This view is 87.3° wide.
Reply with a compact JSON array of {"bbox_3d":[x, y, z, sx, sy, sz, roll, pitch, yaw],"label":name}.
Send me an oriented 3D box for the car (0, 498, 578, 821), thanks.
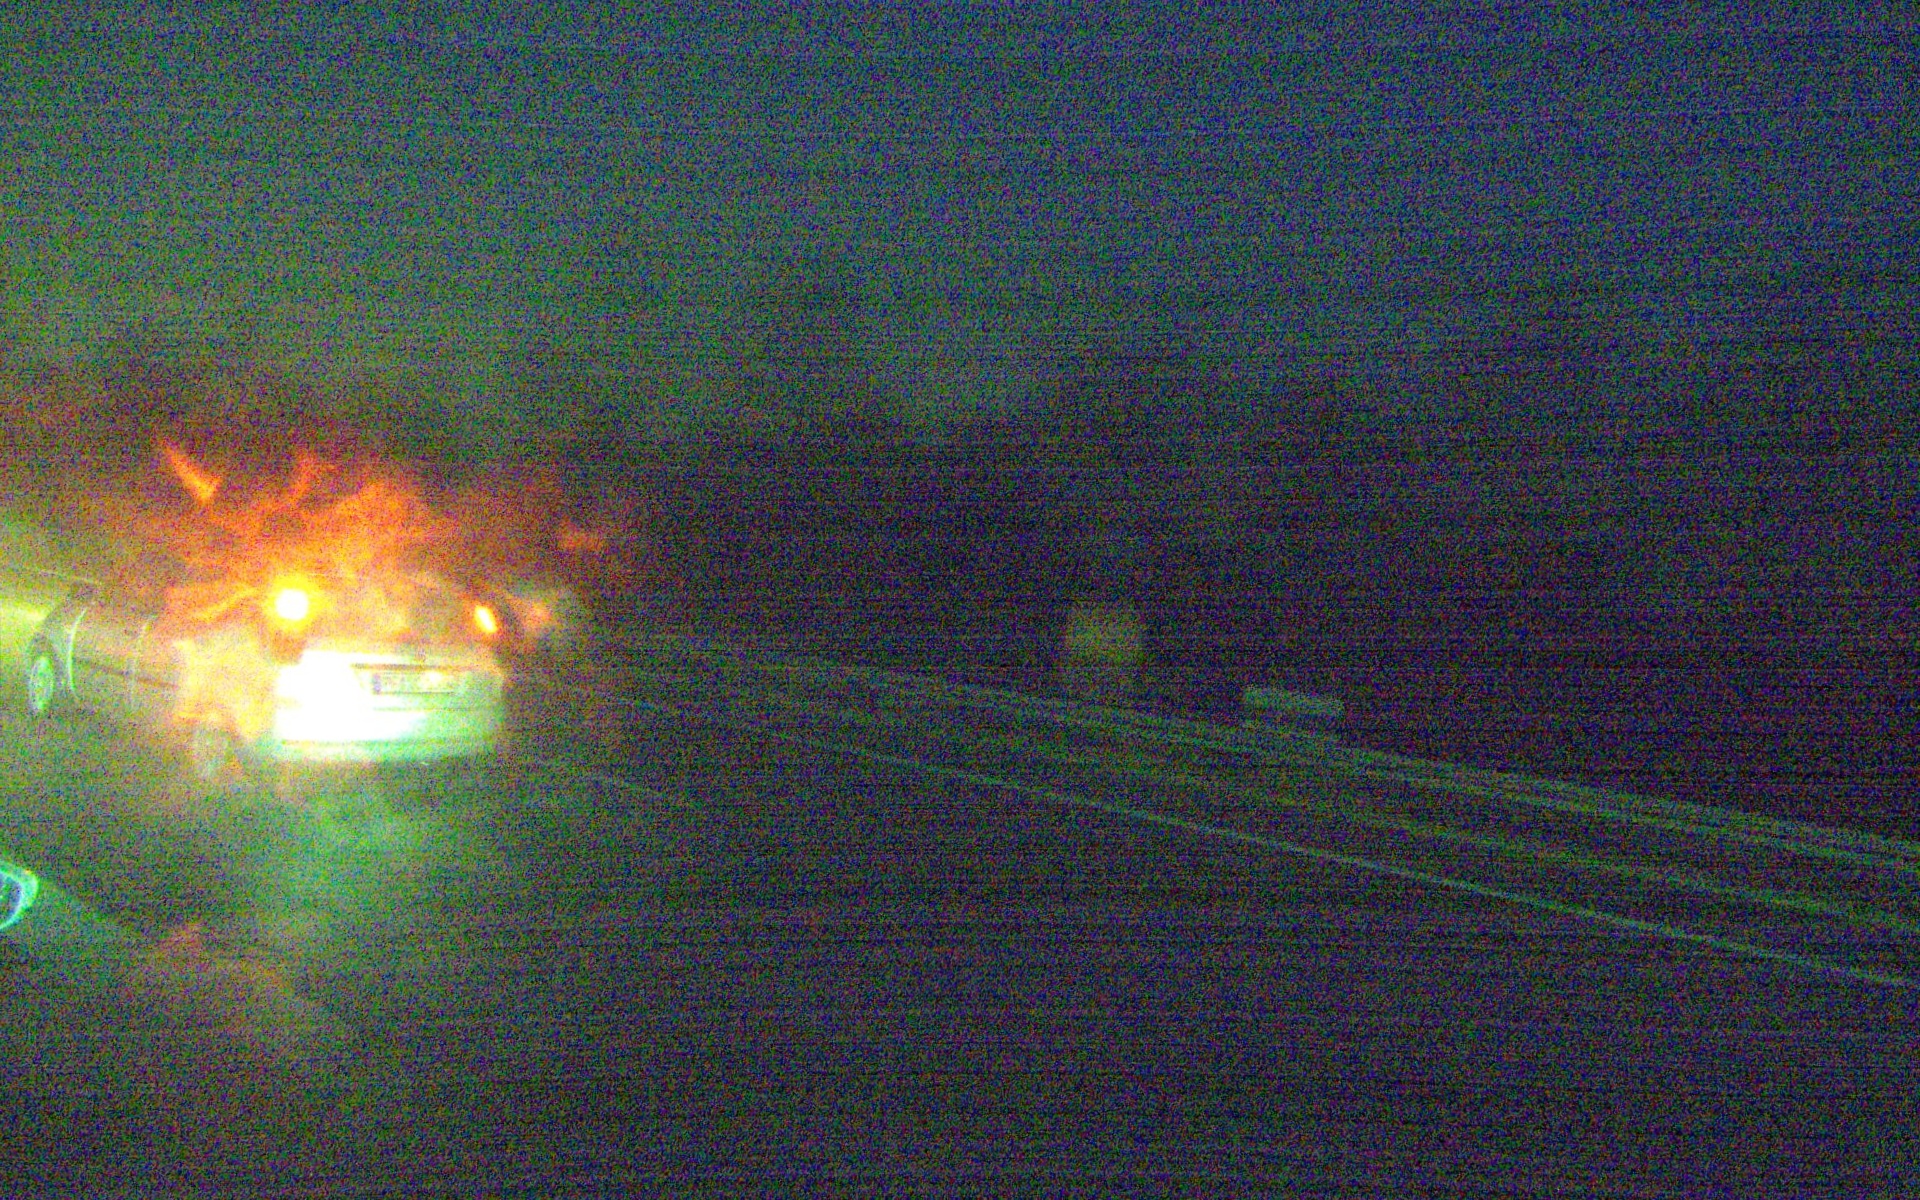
[{"bbox_3d":[-4.844,0.275,6.998,4.124,1.475,1.773,7,-1,30],"label":"car"}]
